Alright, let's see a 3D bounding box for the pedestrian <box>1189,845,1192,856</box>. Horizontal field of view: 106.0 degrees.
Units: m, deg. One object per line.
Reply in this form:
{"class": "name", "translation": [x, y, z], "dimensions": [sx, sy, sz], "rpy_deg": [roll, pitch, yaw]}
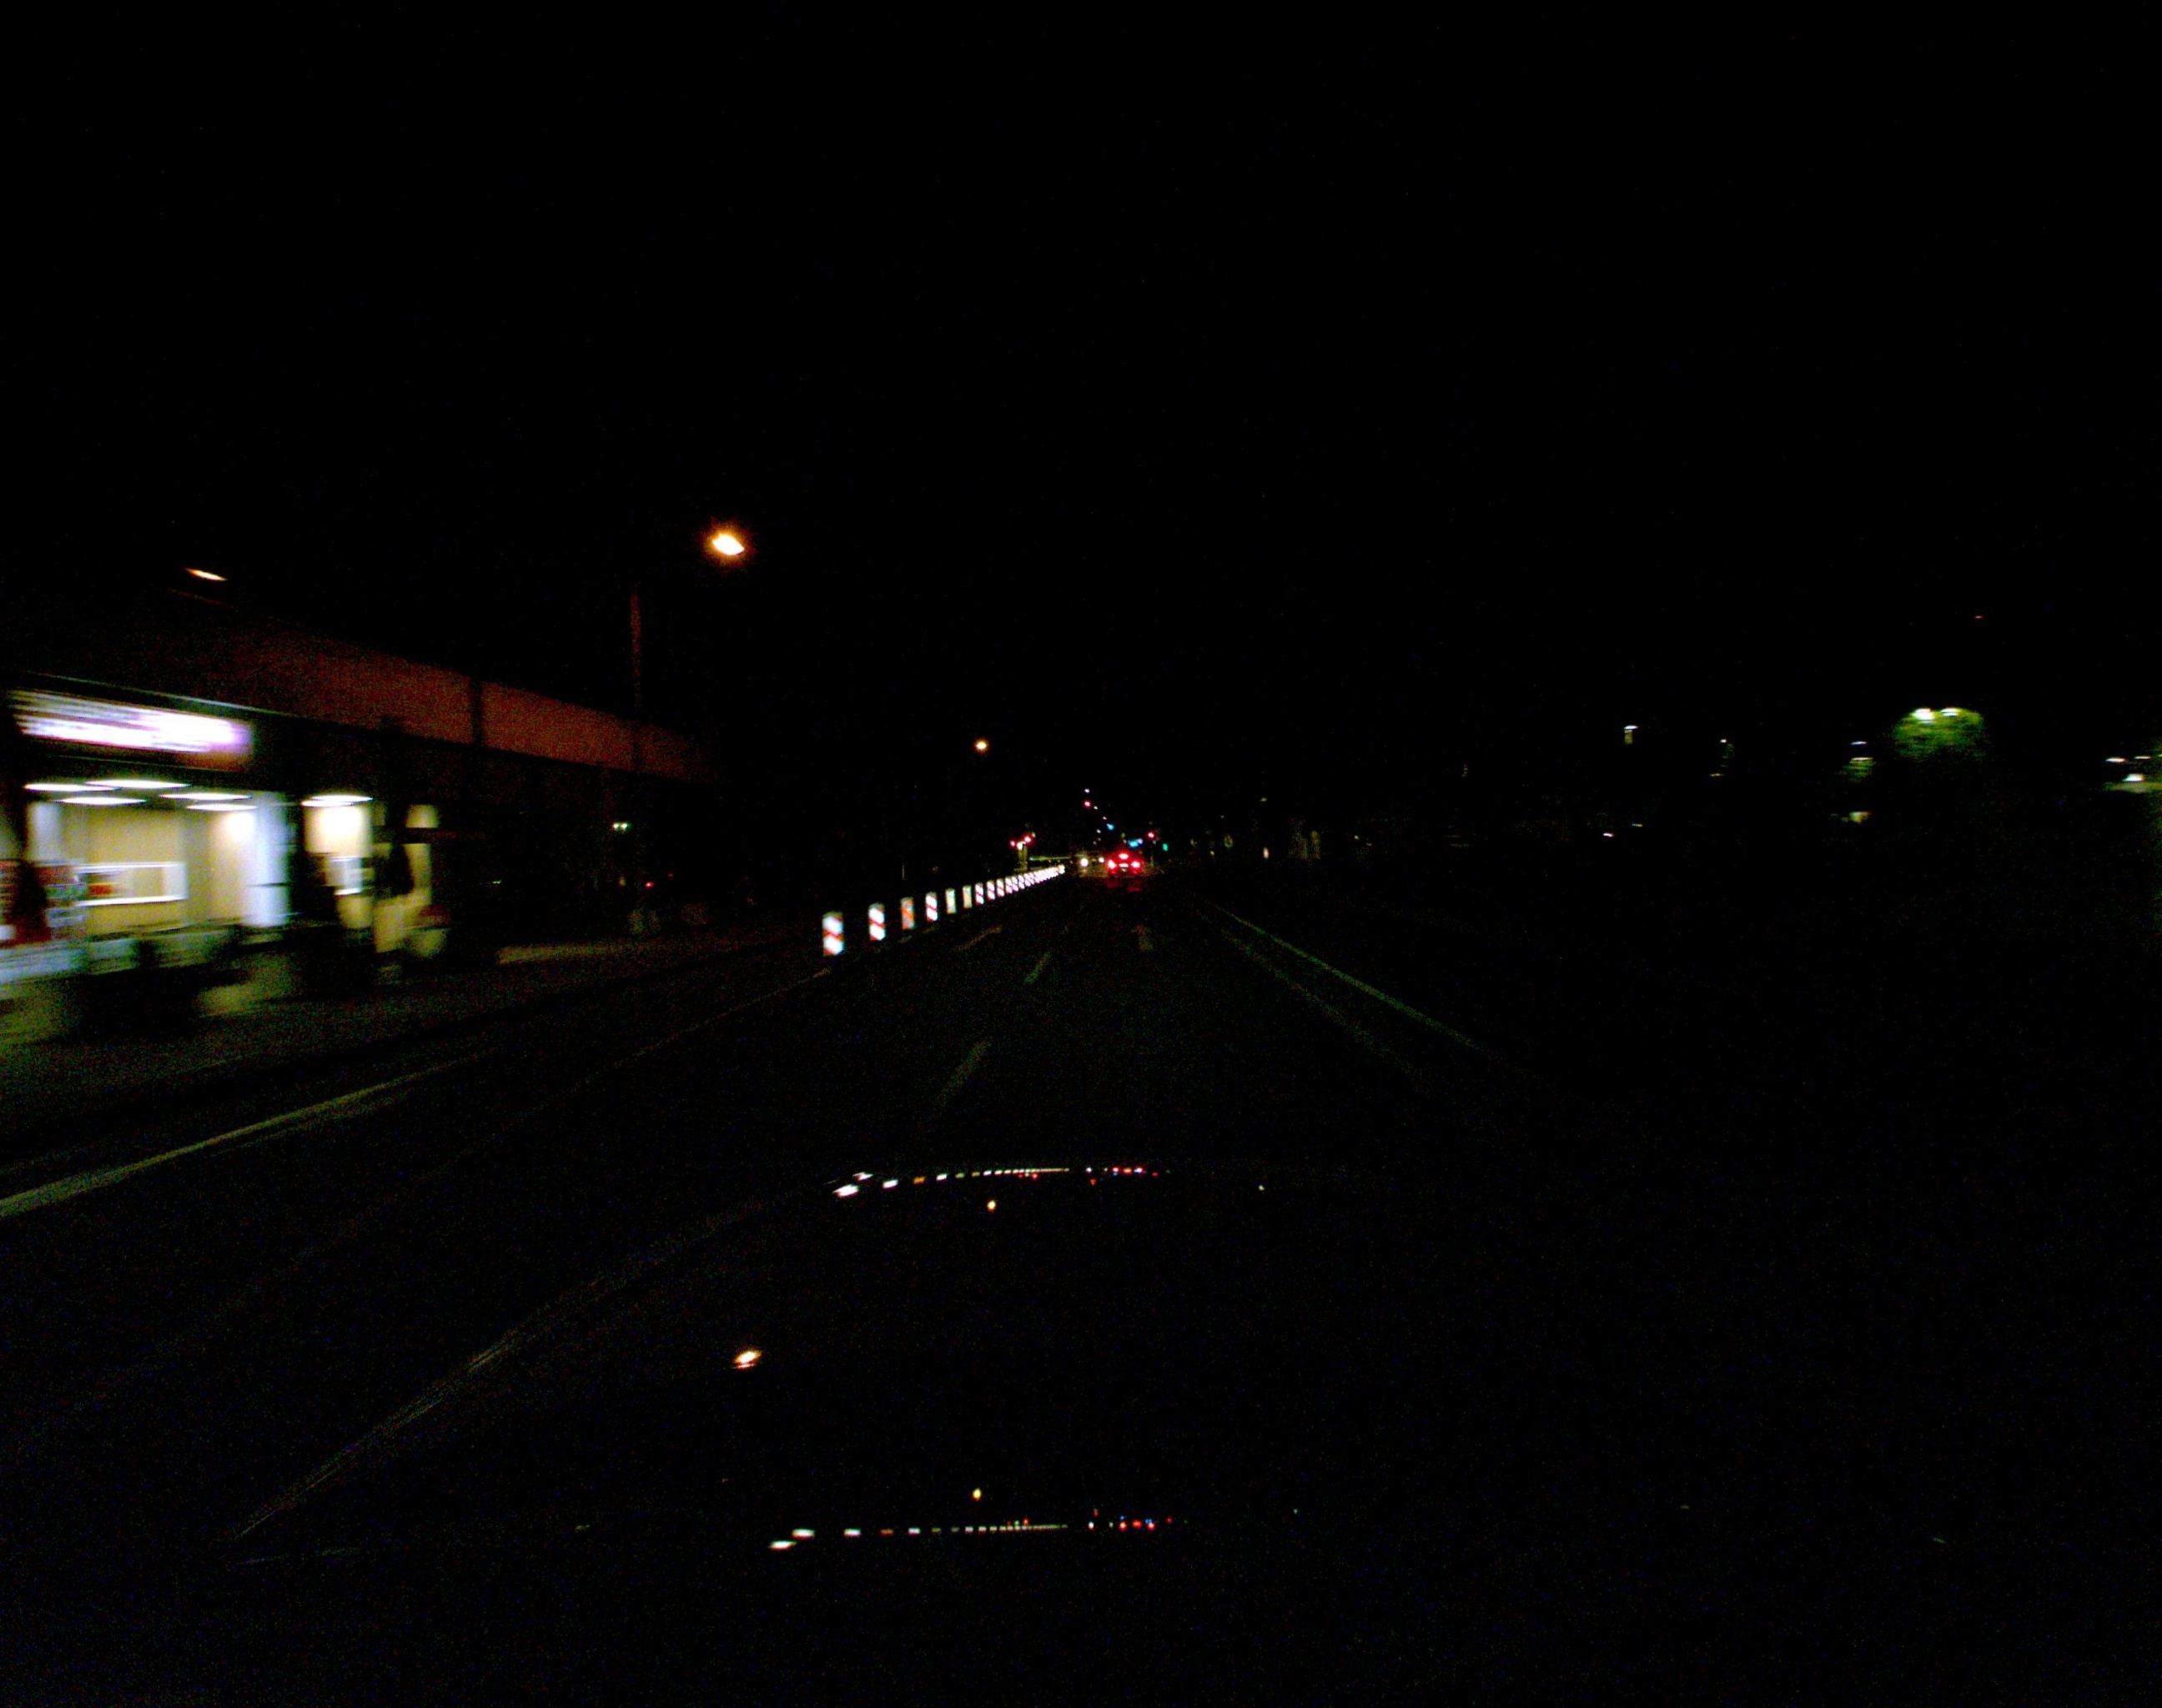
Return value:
{"class": "pedestrian", "translation": [20.991, -0.644, 155.764], "dimensions": [0.486, 2.013, 0.551], "rpy_deg": [-3, 0, 2]}

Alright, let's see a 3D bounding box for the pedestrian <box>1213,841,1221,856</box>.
{"class": "pedestrian", "translation": [16.040, -0.680, 96.015], "dimensions": [0.711, 1.769, 0.907], "rpy_deg": [-3, 0, 2]}

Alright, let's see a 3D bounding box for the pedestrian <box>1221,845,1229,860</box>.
{"class": "pedestrian", "translation": [16.947, -0.170, 96.113], "dimensions": [0.736, 1.769, 0.907], "rpy_deg": [-3, 0, 2]}

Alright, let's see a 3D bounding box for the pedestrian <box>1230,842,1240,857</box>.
{"class": "pedestrian", "translation": [18.218, -0.505, 96.188], "dimensions": [0.897, 1.769, 0.907], "rpy_deg": [-3, 0, 2]}

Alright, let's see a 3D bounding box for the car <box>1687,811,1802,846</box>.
{"class": "car", "translation": [33.494, -1.231, 41.336], "dimensions": [1.882, 1.512, 4.893], "rpy_deg": [-3, 0, 1]}

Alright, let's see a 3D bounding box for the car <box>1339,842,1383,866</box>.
{"class": "car", "translation": [18.410, 0.001, 53.730], "dimensions": [1.507, 1.395, 4.484], "rpy_deg": [-3, 0, 2]}

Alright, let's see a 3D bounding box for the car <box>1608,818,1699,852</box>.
{"class": "car", "translation": [28.746, -0.936, 41.046], "dimensions": [1.761, 1.533, 4.101], "rpy_deg": [-3, 0, 3]}

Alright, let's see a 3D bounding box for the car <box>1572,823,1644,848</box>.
{"class": "car", "translation": [34.080, -1.146, 52.816], "dimensions": [1.986, 1.428, 4.243], "rpy_deg": [-3, 0, 2]}

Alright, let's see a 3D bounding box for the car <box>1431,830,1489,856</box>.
{"class": "car", "translation": [24.765, -0.695, 53.306], "dimensions": [1.777, 1.533, 3.997], "rpy_deg": [-3, 0, -2]}

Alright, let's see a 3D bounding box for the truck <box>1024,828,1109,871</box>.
{"class": "truck", "translation": [-1.615, -0.349, 80.438], "dimensions": [2.777, 3.717, 9.998], "rpy_deg": [-4, 0, -37]}

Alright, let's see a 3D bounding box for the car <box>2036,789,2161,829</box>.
{"class": "car", "translation": [52.359, -2.299, 41.567], "dimensions": [4.517, 1.765, 2.082], "rpy_deg": [-3, 0, 4]}

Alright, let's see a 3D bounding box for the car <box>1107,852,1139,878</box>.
{"class": "car", "translation": [2.551, 0.642, 49.343], "dimensions": [1.797, 1.494, 4.733], "rpy_deg": [-1, 0, 3]}
